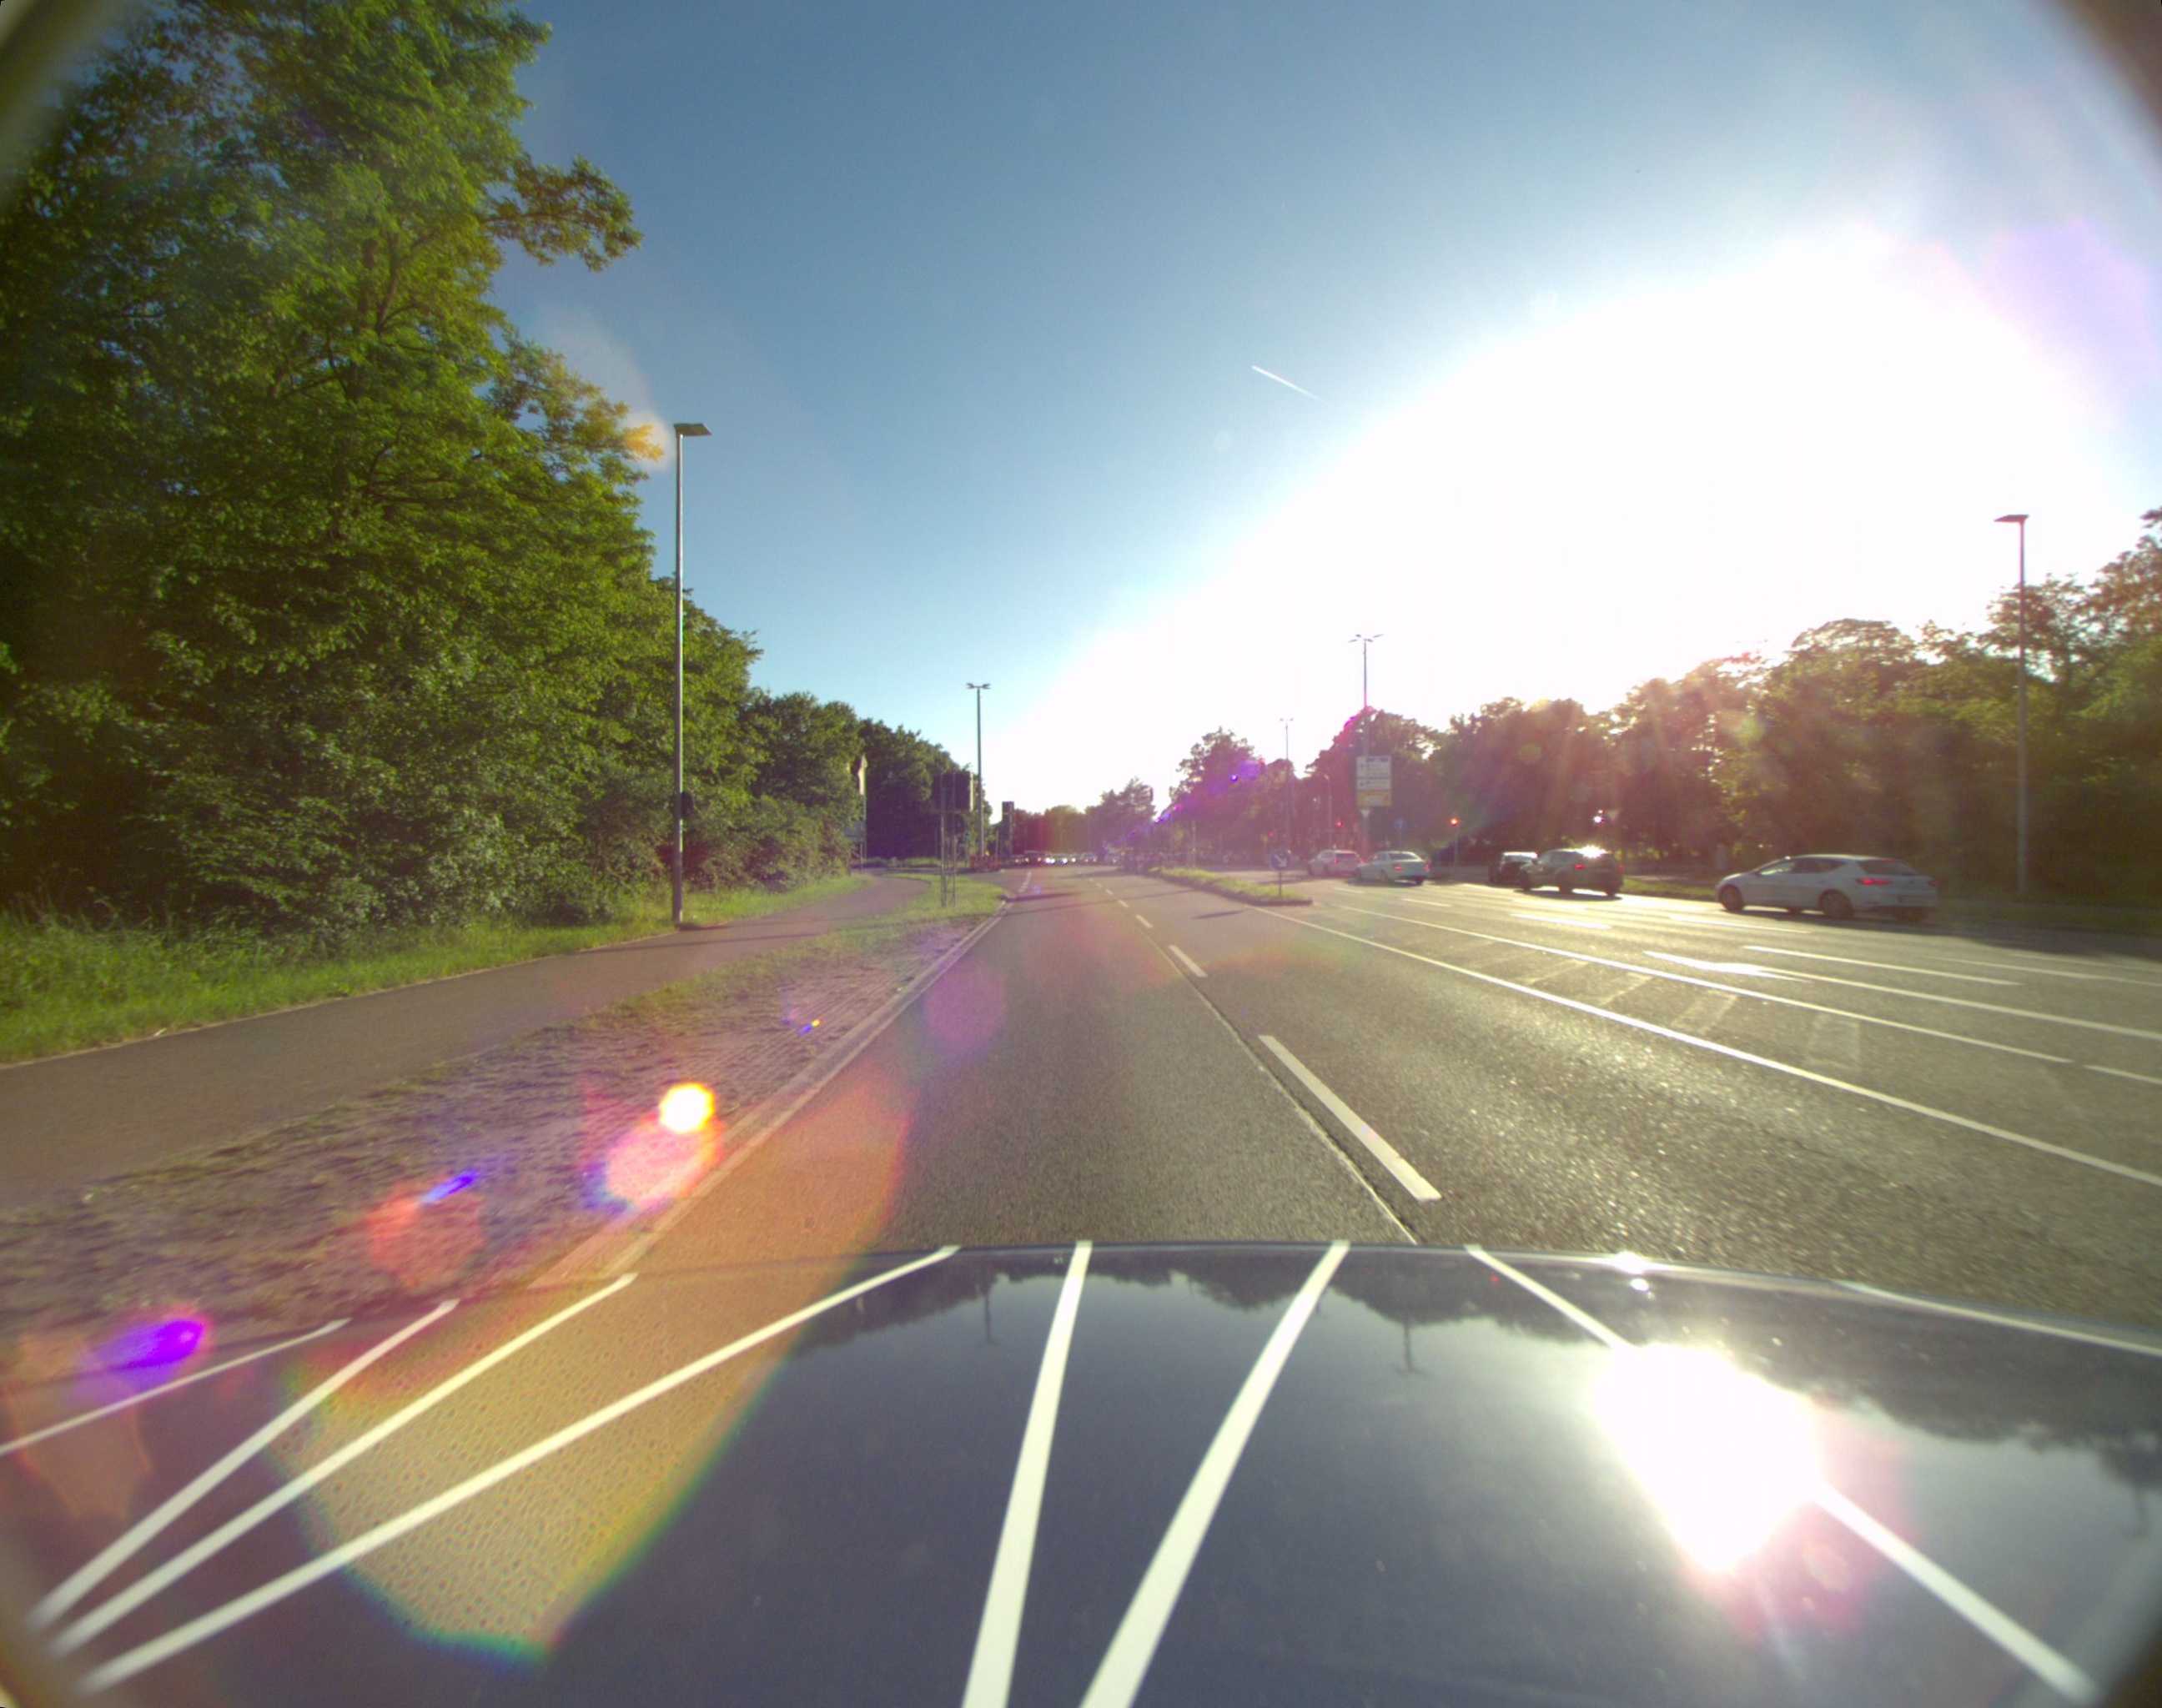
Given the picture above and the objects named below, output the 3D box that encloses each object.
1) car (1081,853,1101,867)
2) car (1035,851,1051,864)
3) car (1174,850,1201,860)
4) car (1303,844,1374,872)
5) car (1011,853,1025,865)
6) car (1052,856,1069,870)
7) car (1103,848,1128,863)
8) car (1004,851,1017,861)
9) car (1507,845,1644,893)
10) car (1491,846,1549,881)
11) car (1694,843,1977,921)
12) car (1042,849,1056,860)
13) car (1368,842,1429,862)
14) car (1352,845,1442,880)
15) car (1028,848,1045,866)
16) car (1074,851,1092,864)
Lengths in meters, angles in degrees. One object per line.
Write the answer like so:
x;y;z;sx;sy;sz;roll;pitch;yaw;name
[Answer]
1.213;0.660;91.362;1.999;1.510;3.997;-1;2;-4;car
-5.147;0.424;101.862;1.999;1.510;3.997;-1;2;-4;car
17.471;0.086;124.655;4.002;1.510;1.997;-2;2;-16;car
14.157;0.200;42.153;1.999;1.442;4.840;1;1;-4;car
-8.953;0.689;108.367;1.999;1.510;3.997;-1;2;-4;car
-2.547;1.087;93.647;1.999;1.510;3.997;-1;2;-4;car
3.445;0.121;76.281;1.999;1.510;3.998;-1;0;-4;car
-11.493;0.296;124.235;1.999;1.510;3.997;-1;2;-4;car
17.973;0.495;27.950;1.998;1.555;4.647;2;1;1;car
19.961;0.377;34.424;1.994;1.442;4.657;0;1;33;car
17.518;0.557;18.080;1.999;1.555;4.647;2;1;-1;car
-4.779;0.077;112.666;1.999;1.510;3.997;-1;2;-4;car
27.388;-0.152;65.719;4.733;1.677;2.002;0;1;16;car
14.222;0.347;34.526;1.999;1.442;4.646;1;1;-2;car
-5.436;0.345;93.129;1.999;2.057;3.997;-1;2;-4;car
0.256;0.482;100.628;1.999;1.510;3.997;-1;2;-4;car
